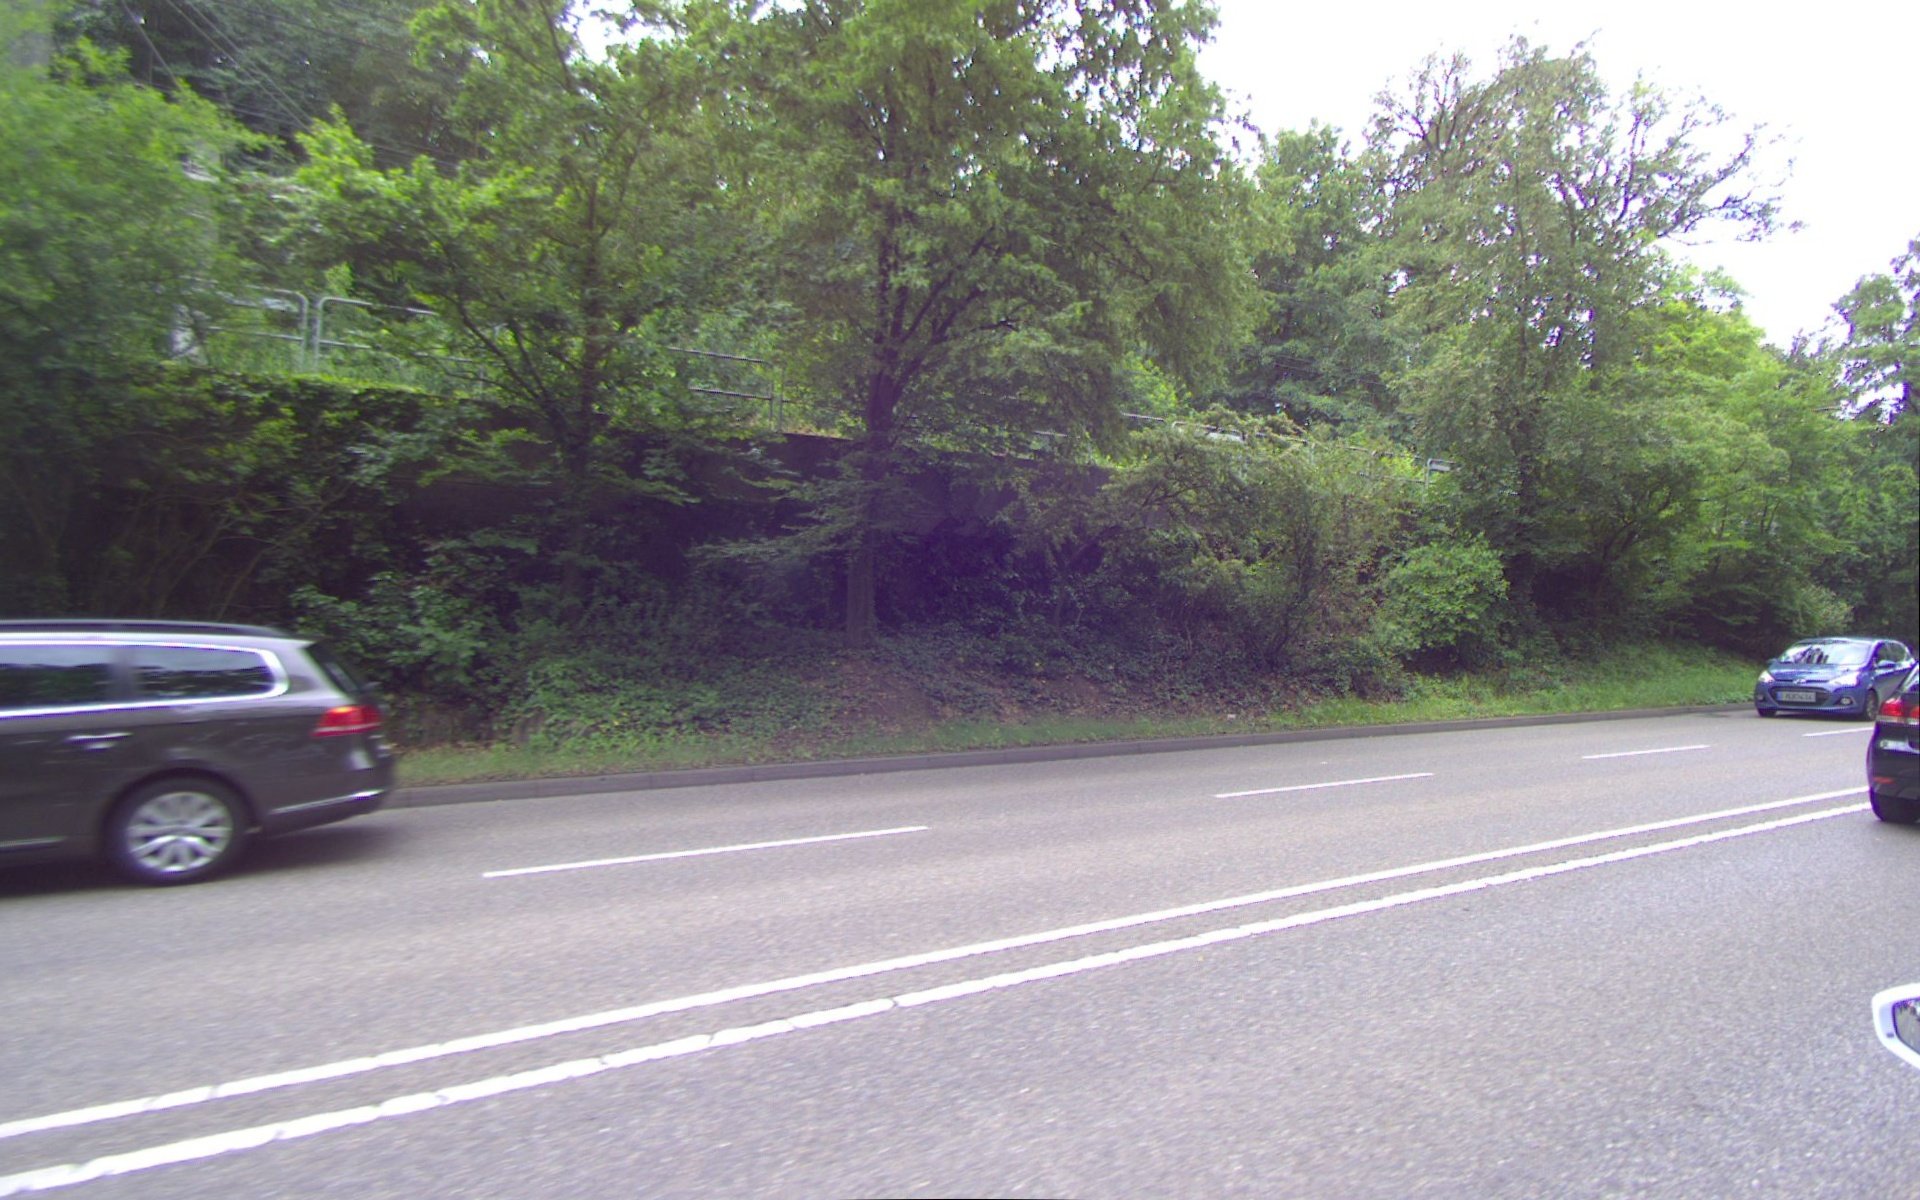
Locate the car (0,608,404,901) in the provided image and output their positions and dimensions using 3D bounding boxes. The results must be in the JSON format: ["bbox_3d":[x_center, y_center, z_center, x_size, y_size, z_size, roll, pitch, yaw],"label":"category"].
[{"bbox_3d":[-5.759,0.829,5.848,4.381,1.531,1.724,2,-3,-30],"label":"car"}]

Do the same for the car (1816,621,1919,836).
[{"bbox_3d":[8.596,0.965,7.668,3.953,1.485,1.940,2,0,-30],"label":"car"}]

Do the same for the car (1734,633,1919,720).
[{"bbox_3d":[16.604,1.403,19.129,3.955,1.505,1.661,2,-3,-31],"label":"car"}]
